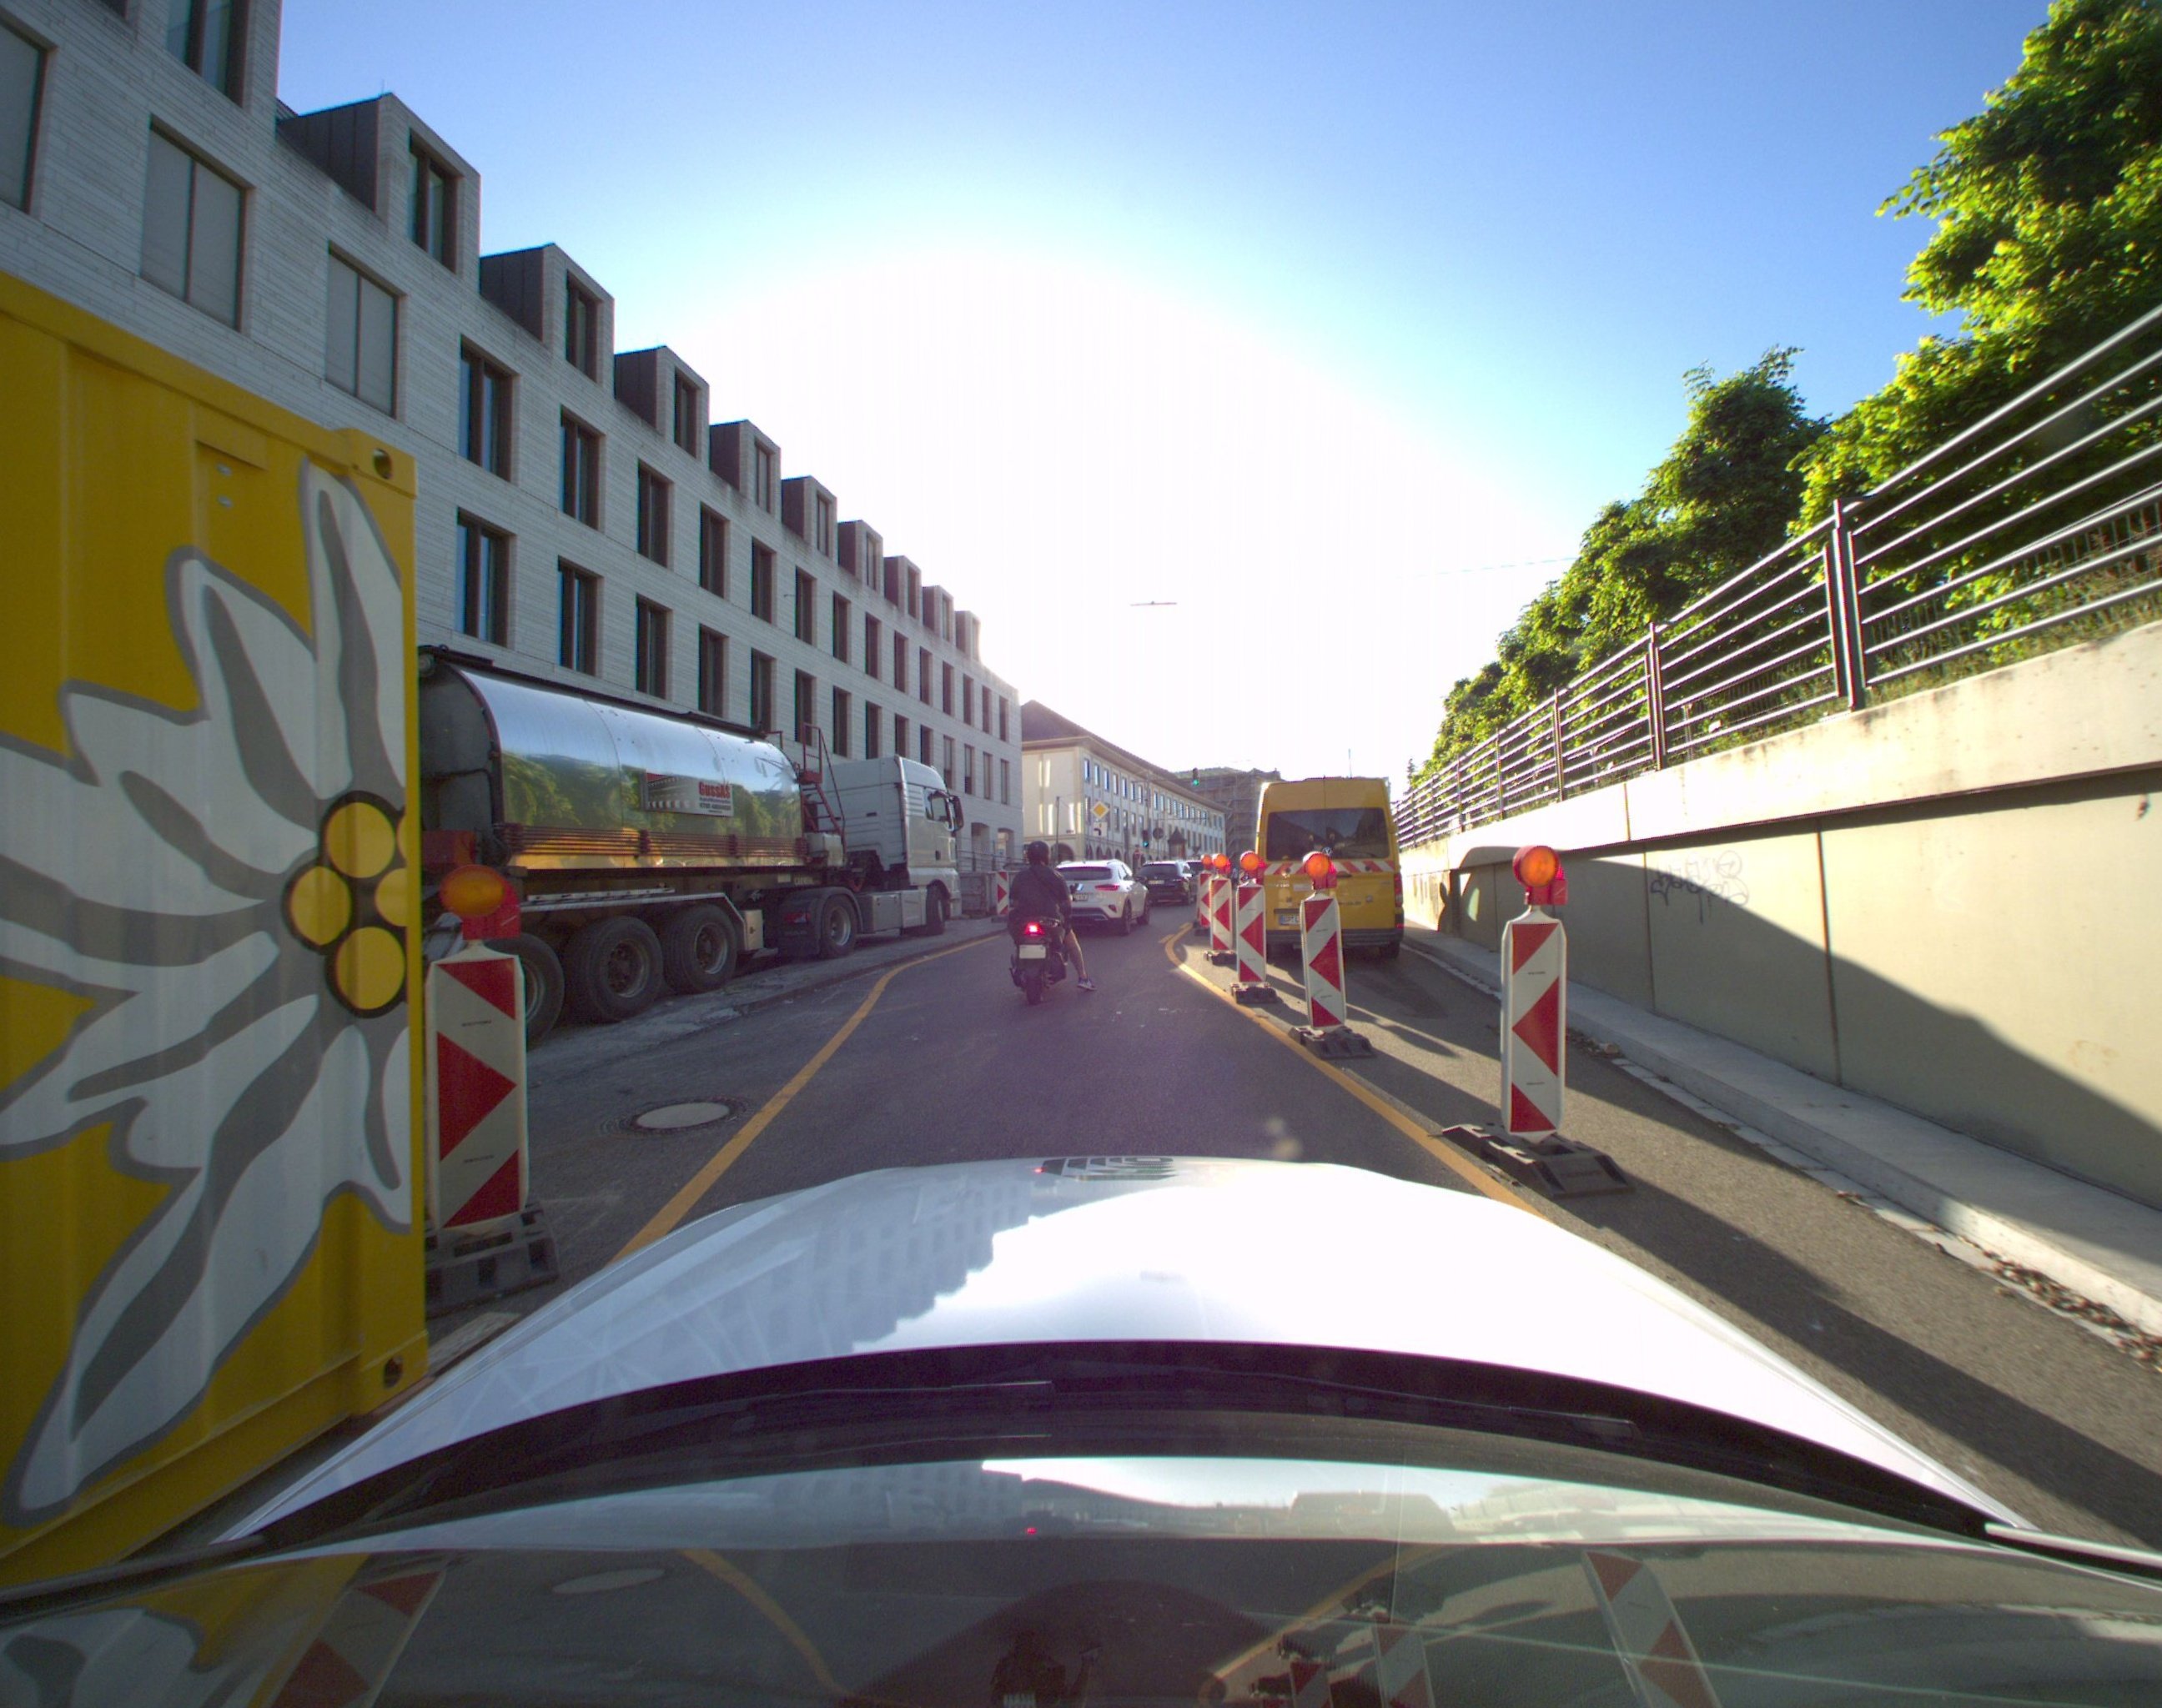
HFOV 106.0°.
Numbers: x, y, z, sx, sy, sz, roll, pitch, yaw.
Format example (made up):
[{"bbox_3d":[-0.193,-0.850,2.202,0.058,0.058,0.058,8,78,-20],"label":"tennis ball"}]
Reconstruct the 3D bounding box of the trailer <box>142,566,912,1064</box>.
[{"bbox_3d":[-5.414,-0.235,10.734,2.625,3.669,8.776,-6,-1,12],"label":"trailer"}]

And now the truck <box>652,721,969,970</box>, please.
[{"bbox_3d":[-4.450,-0.084,14.854,2.561,3.489,5.837,-4,-1,14],"label":"truck"}]

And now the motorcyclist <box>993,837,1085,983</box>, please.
[{"bbox_3d":[-0.453,0.608,9.477,0.951,1.559,1.239,-2,-1,0],"label":"motorcyclist"}]

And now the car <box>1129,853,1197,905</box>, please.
[{"bbox_3d":[2.817,0.842,27.342,1.762,1.550,4.119,-3,-3,12],"label":"car"}]

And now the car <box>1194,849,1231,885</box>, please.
[{"bbox_3d":[6.835,0.638,42.179,1.792,1.721,4.174,-2,0,10],"label":"car"}]

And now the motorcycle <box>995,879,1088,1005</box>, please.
[{"bbox_3d":[-0.385,0.928,9.495,0.903,1.183,2.578,-2,0,0],"label":"motorcycle"}]

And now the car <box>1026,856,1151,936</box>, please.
[{"bbox_3d":[0.294,0.800,17.261,1.846,1.472,4.013,-1,0,12],"label":"car"}]

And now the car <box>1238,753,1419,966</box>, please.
[{"bbox_3d":[3.896,0.112,13.741,2.097,2.625,7.011,-2,-1,13],"label":"car"}]
